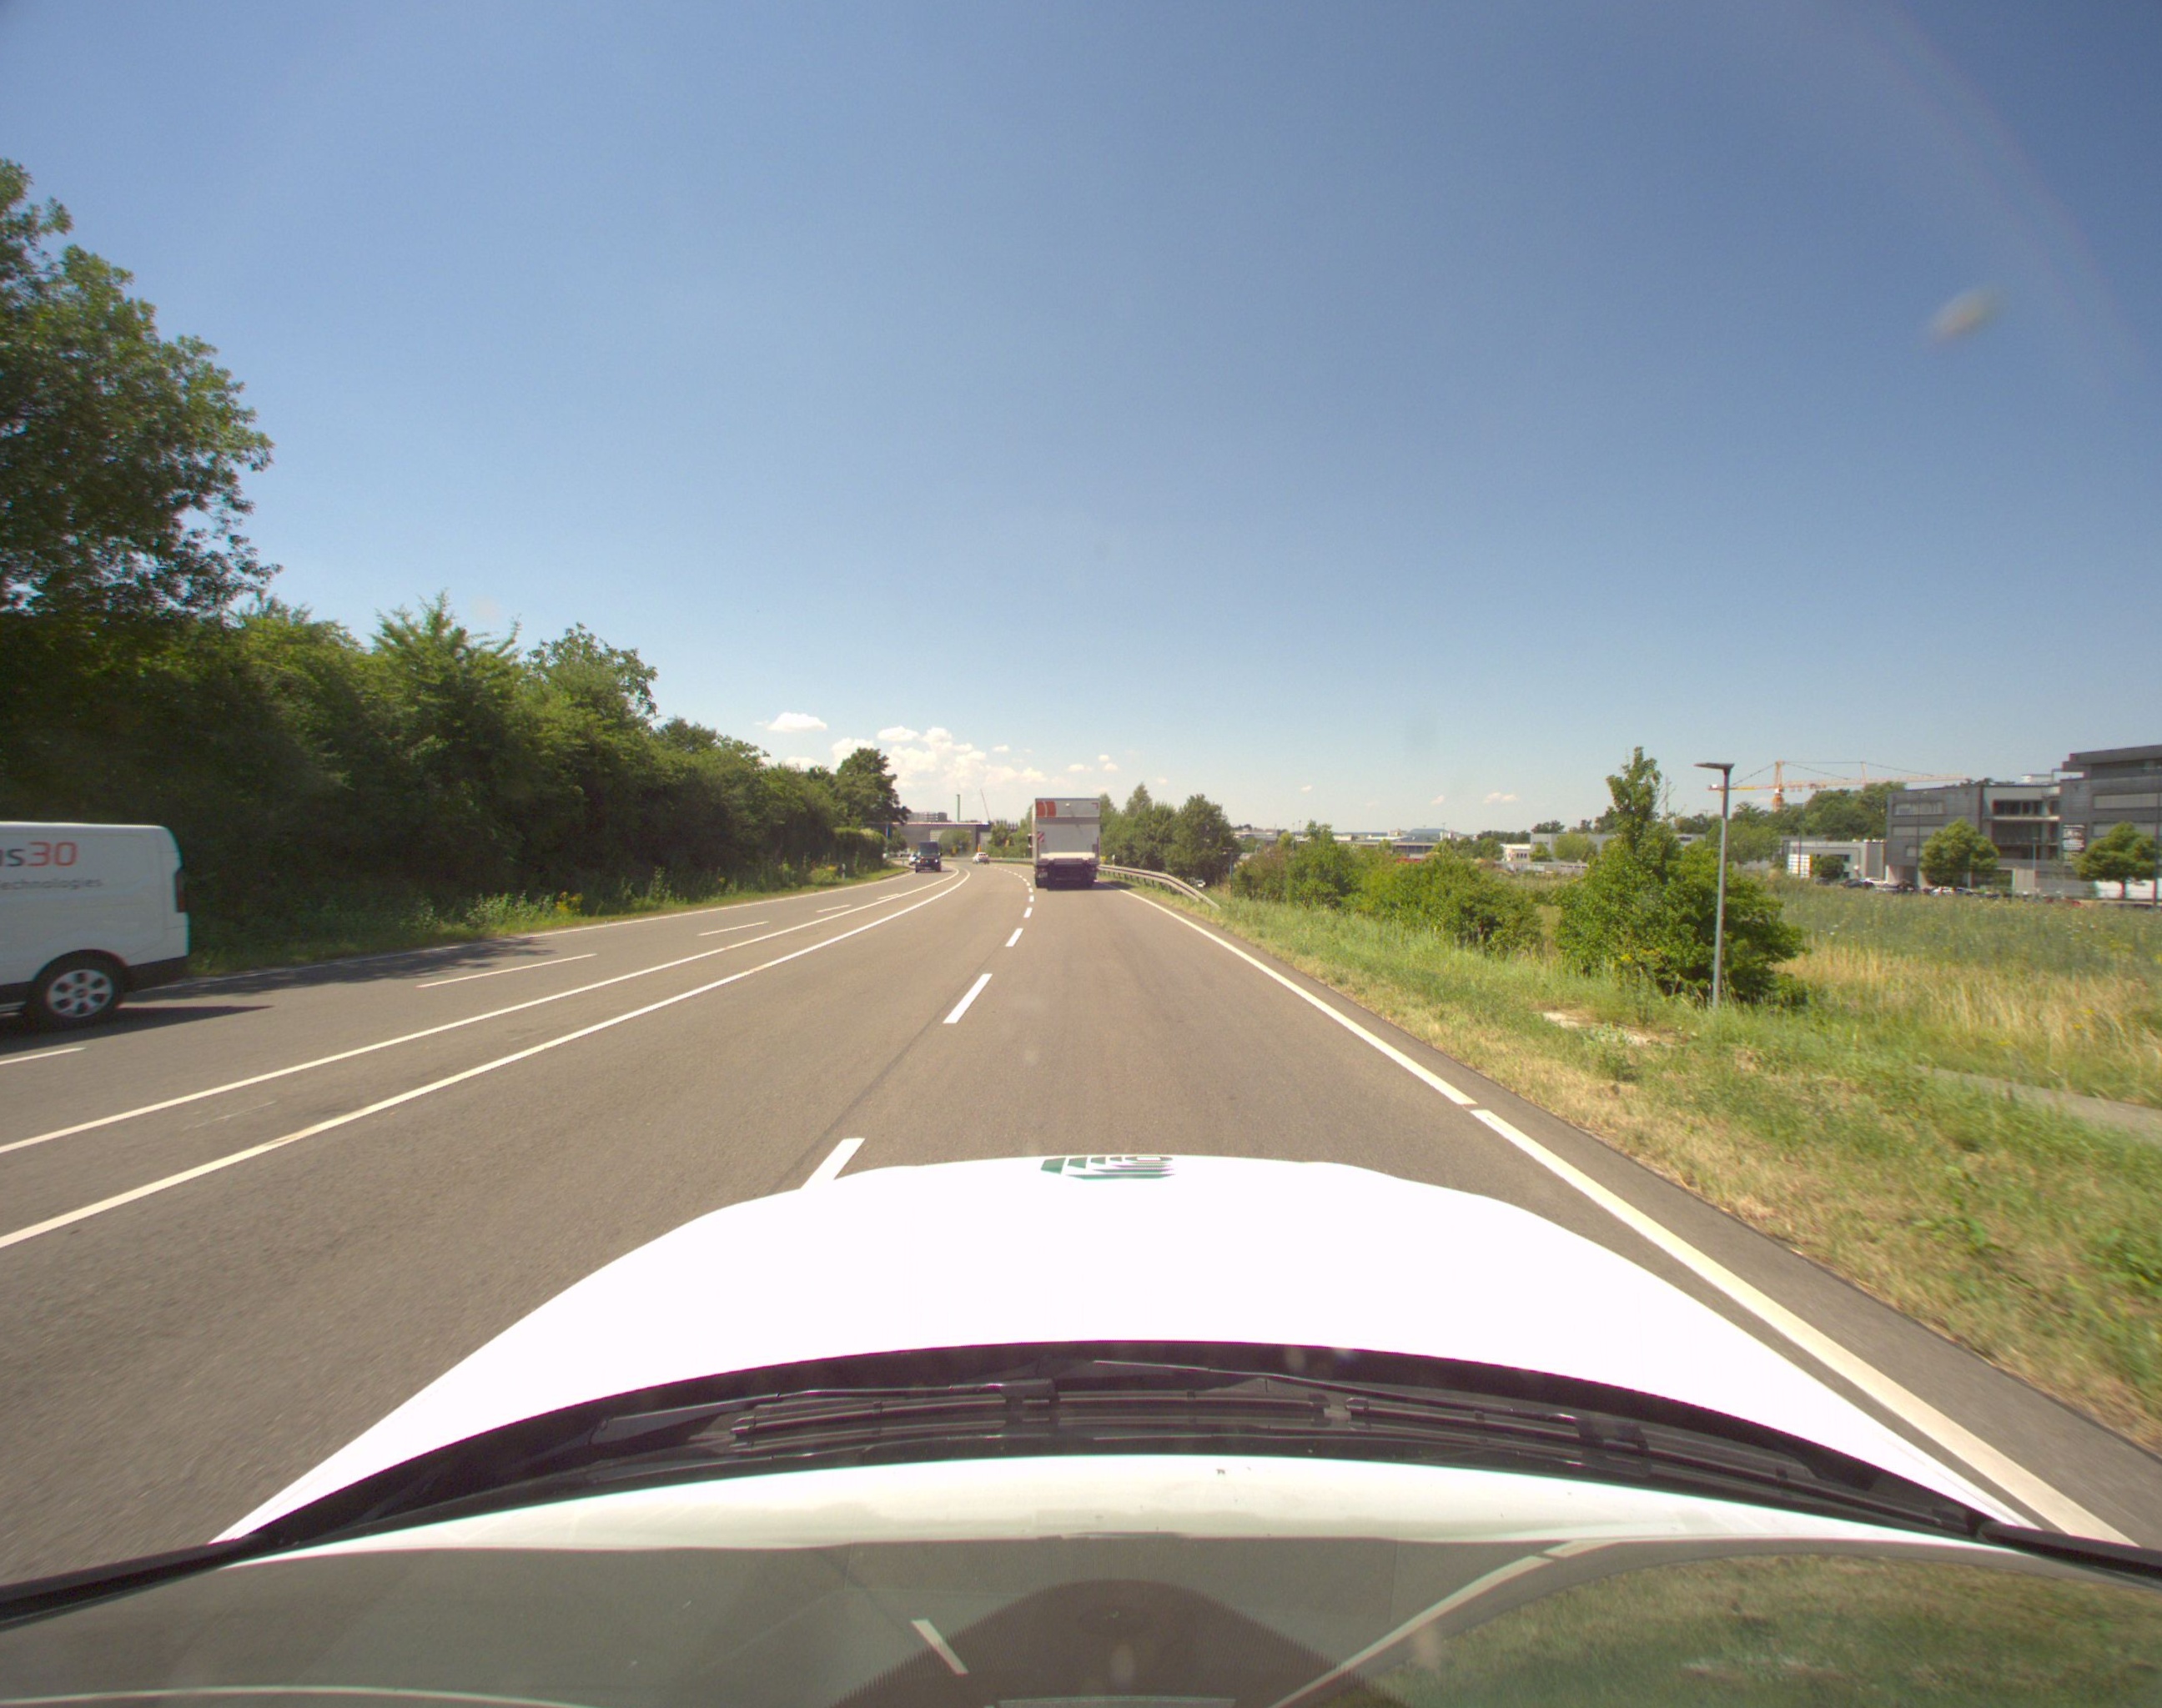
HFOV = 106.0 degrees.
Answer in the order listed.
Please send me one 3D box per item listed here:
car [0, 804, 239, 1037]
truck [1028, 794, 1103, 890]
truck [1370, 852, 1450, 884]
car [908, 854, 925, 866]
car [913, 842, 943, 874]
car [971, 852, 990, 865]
[{"bbox_3d":[-10.433,0.575,6.052,2.067,2.013,5.813,0,0,4],"label":"car"},{"bbox_3d":[-0.891,-0.506,35.926,2.798,3.710,9.093,0,0,-4],"label":"truck"},{"bbox_3d":[43.565,1.818,107.837,9.299,3.683,3.151,3,2,31],"label":"truck"},{"bbox_3d":[-22.840,0.772,112.819,1.997,1.629,4.176,-1,0,-15],"label":"car"},{"bbox_3d":[-12.585,0.298,67.119,2.187,2.541,6.018,0,0,-9],"label":"car"},{"bbox_3d":[-13.372,0.591,108.264,1.948,1.664,3.977,2,-1,-16],"label":"car"}]
